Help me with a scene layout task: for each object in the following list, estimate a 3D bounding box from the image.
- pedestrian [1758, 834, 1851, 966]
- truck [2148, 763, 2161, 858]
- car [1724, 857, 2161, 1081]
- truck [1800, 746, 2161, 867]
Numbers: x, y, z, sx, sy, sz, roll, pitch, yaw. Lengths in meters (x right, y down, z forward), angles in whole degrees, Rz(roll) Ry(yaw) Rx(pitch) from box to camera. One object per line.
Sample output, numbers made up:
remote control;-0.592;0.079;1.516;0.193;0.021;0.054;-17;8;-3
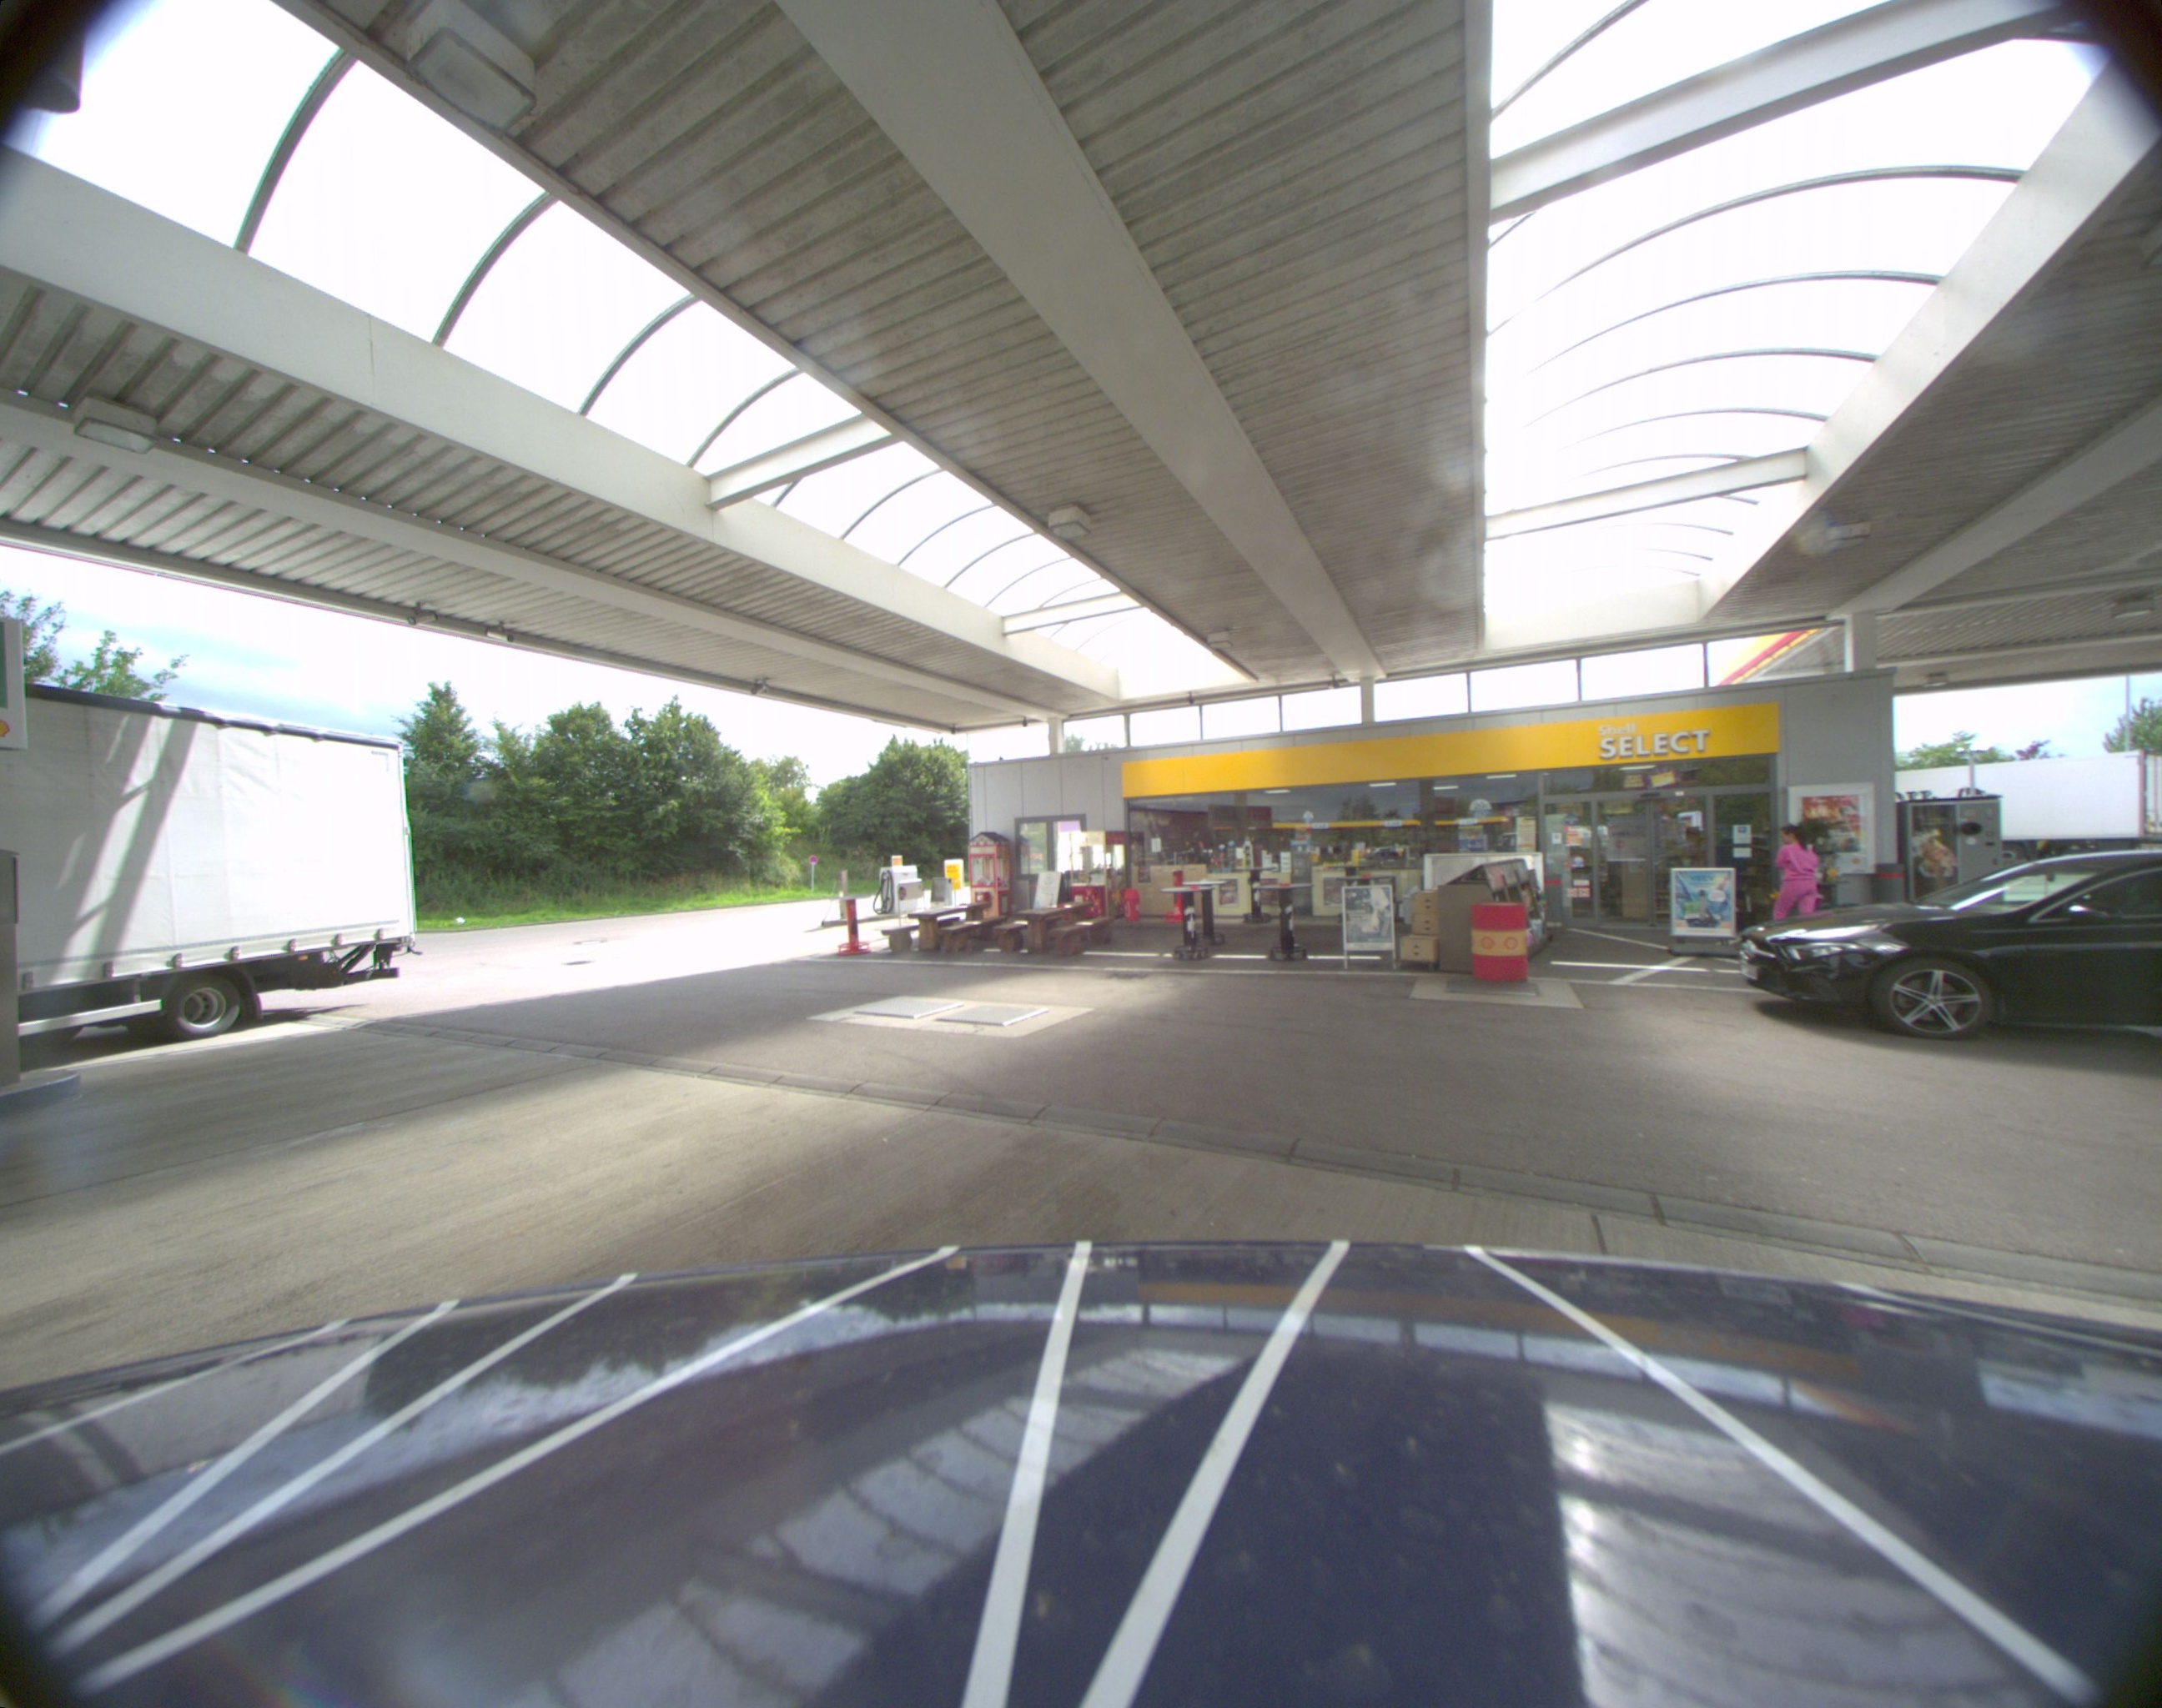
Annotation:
pedestrian;9.638;0.594;10.141;0.626;1.703;0.623;-2;1;6
truck;51.478;-2.042;33.134;3.383;4.479;6.239;-2;1;29
car;8.163;0.813;5.969;4.461;1.491;1.782;-2;1;28
truck;35.130;-1.614;30.054;2.796;3.982;9.578;-3;1;-16
